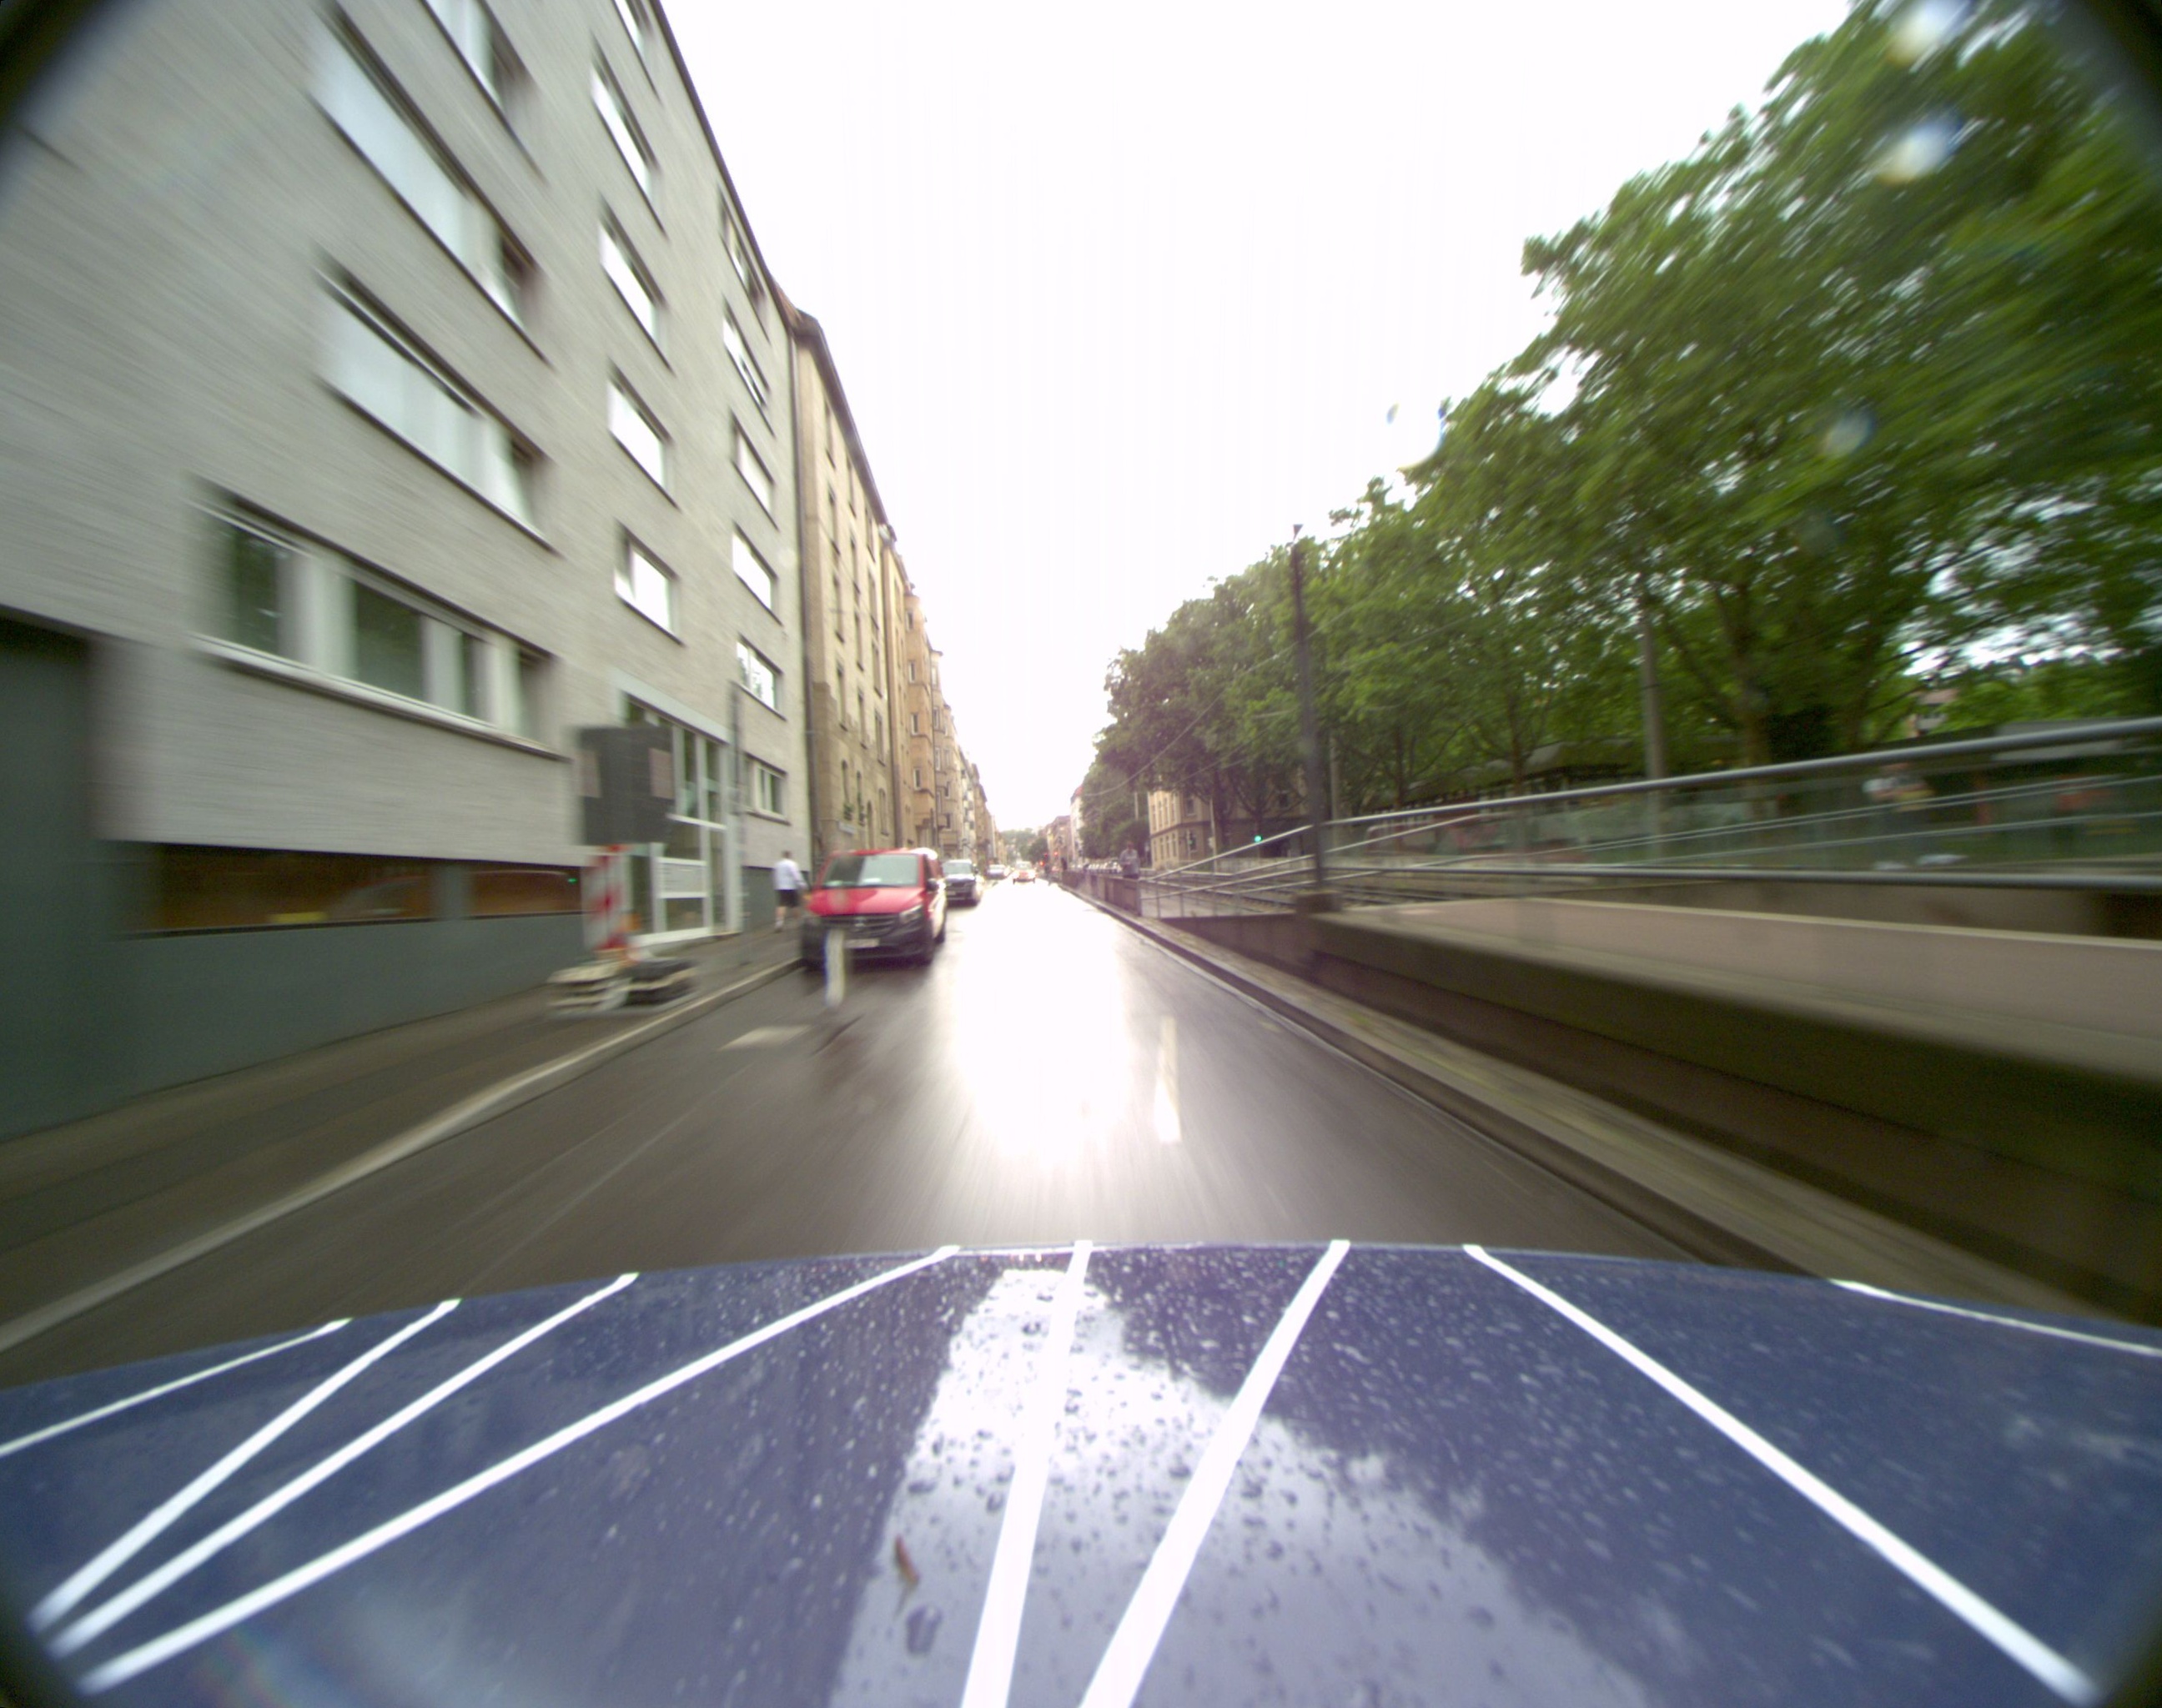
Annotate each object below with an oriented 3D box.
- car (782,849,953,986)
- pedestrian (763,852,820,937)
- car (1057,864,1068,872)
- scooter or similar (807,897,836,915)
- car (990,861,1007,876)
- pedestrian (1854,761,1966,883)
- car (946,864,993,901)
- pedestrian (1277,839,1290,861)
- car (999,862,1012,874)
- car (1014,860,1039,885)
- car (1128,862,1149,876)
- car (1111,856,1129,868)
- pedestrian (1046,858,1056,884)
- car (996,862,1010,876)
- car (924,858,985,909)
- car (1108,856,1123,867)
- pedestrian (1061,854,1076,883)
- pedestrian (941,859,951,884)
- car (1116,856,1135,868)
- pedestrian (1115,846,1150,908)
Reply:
[{"bbox_3d":[-3.423,0.884,13.251,1.981,1.827,5.242,-2,0,-7],"label":"car"},{"bbox_3d":[-6.334,0.866,16.654,0.854,1.747,0.837,-4,0,-4],"label":"pedestrian"},{"bbox_3d":[-3.863,2.872,157.855,1.688,1.468,3.310,-4,0,-9],"label":"car"},{"bbox_3d":[-7.640,1.522,22.362,0.859,0.503,0.258,-2,1,26],"label":"scooter or similar"},{"bbox_3d":[-8.885,1.568,81.911,1.746,1.576,3.999,-2,-1,-6],"label":"car"},{"bbox_3d":[11.867,-0.441,10.901,0.659,1.652,0.688,-3,-3,-5],"label":"pedestrian"},{"bbox_3d":[-4.987,1.249,34.343,1.666,1.444,3.608,-3,1,-2],"label":"car"},{"bbox_3d":[17.105,-0.331,64.225,0.861,1.788,0.872,-3,0,2],"label":"pedestrian"},{"bbox_3d":[-10.722,1.961,108.610,1.746,1.649,3.999,-2,-1,-5],"label":"car"},{"bbox_3d":[-3.879,1.325,53.707,1.621,1.592,4.065,-2,-2,-6],"label":"car"},{"bbox_3d":[6.687,1.785,88.783,1.892,1.468,3.806,-4,0,-4],"label":"car"},{"bbox_3d":[4.996,0.993,97.340,1.646,1.392,3.515,-3,-1,-6],"label":"car"},{"bbox_3d":[-1.907,1.083,48.228,0.481,1.629,0.433,-3,0,-7],"label":"pedestrian"},{"bbox_3d":[-10.355,1.996,100.691,1.746,1.729,3.999,-2,-1,-5],"label":"car"},{"bbox_3d":[-4.664,1.043,28.649,1.770,1.698,4.498,-3,0,-4],"label":"car"},{"bbox_3d":[4.626,1.029,103.094,1.484,1.392,3.281,-3,-1,-7],"label":"car"},{"bbox_3d":[-0.739,0.862,45.413,0.652,1.694,0.662,-3,0,18],"label":"pedestrian"},{"bbox_3d":[-9.482,1.245,53.226,0.580,1.741,0.574,-1,-2,-4],"label":"pedestrian"},{"bbox_3d":[5.408,0.978,92.998,1.646,1.392,3.515,-3,-1,-6],"label":"car"},{"bbox_3d":[1.539,0.689,22.845,0.861,1.788,0.787,-3,0,-5],"label":"pedestrian"}]
